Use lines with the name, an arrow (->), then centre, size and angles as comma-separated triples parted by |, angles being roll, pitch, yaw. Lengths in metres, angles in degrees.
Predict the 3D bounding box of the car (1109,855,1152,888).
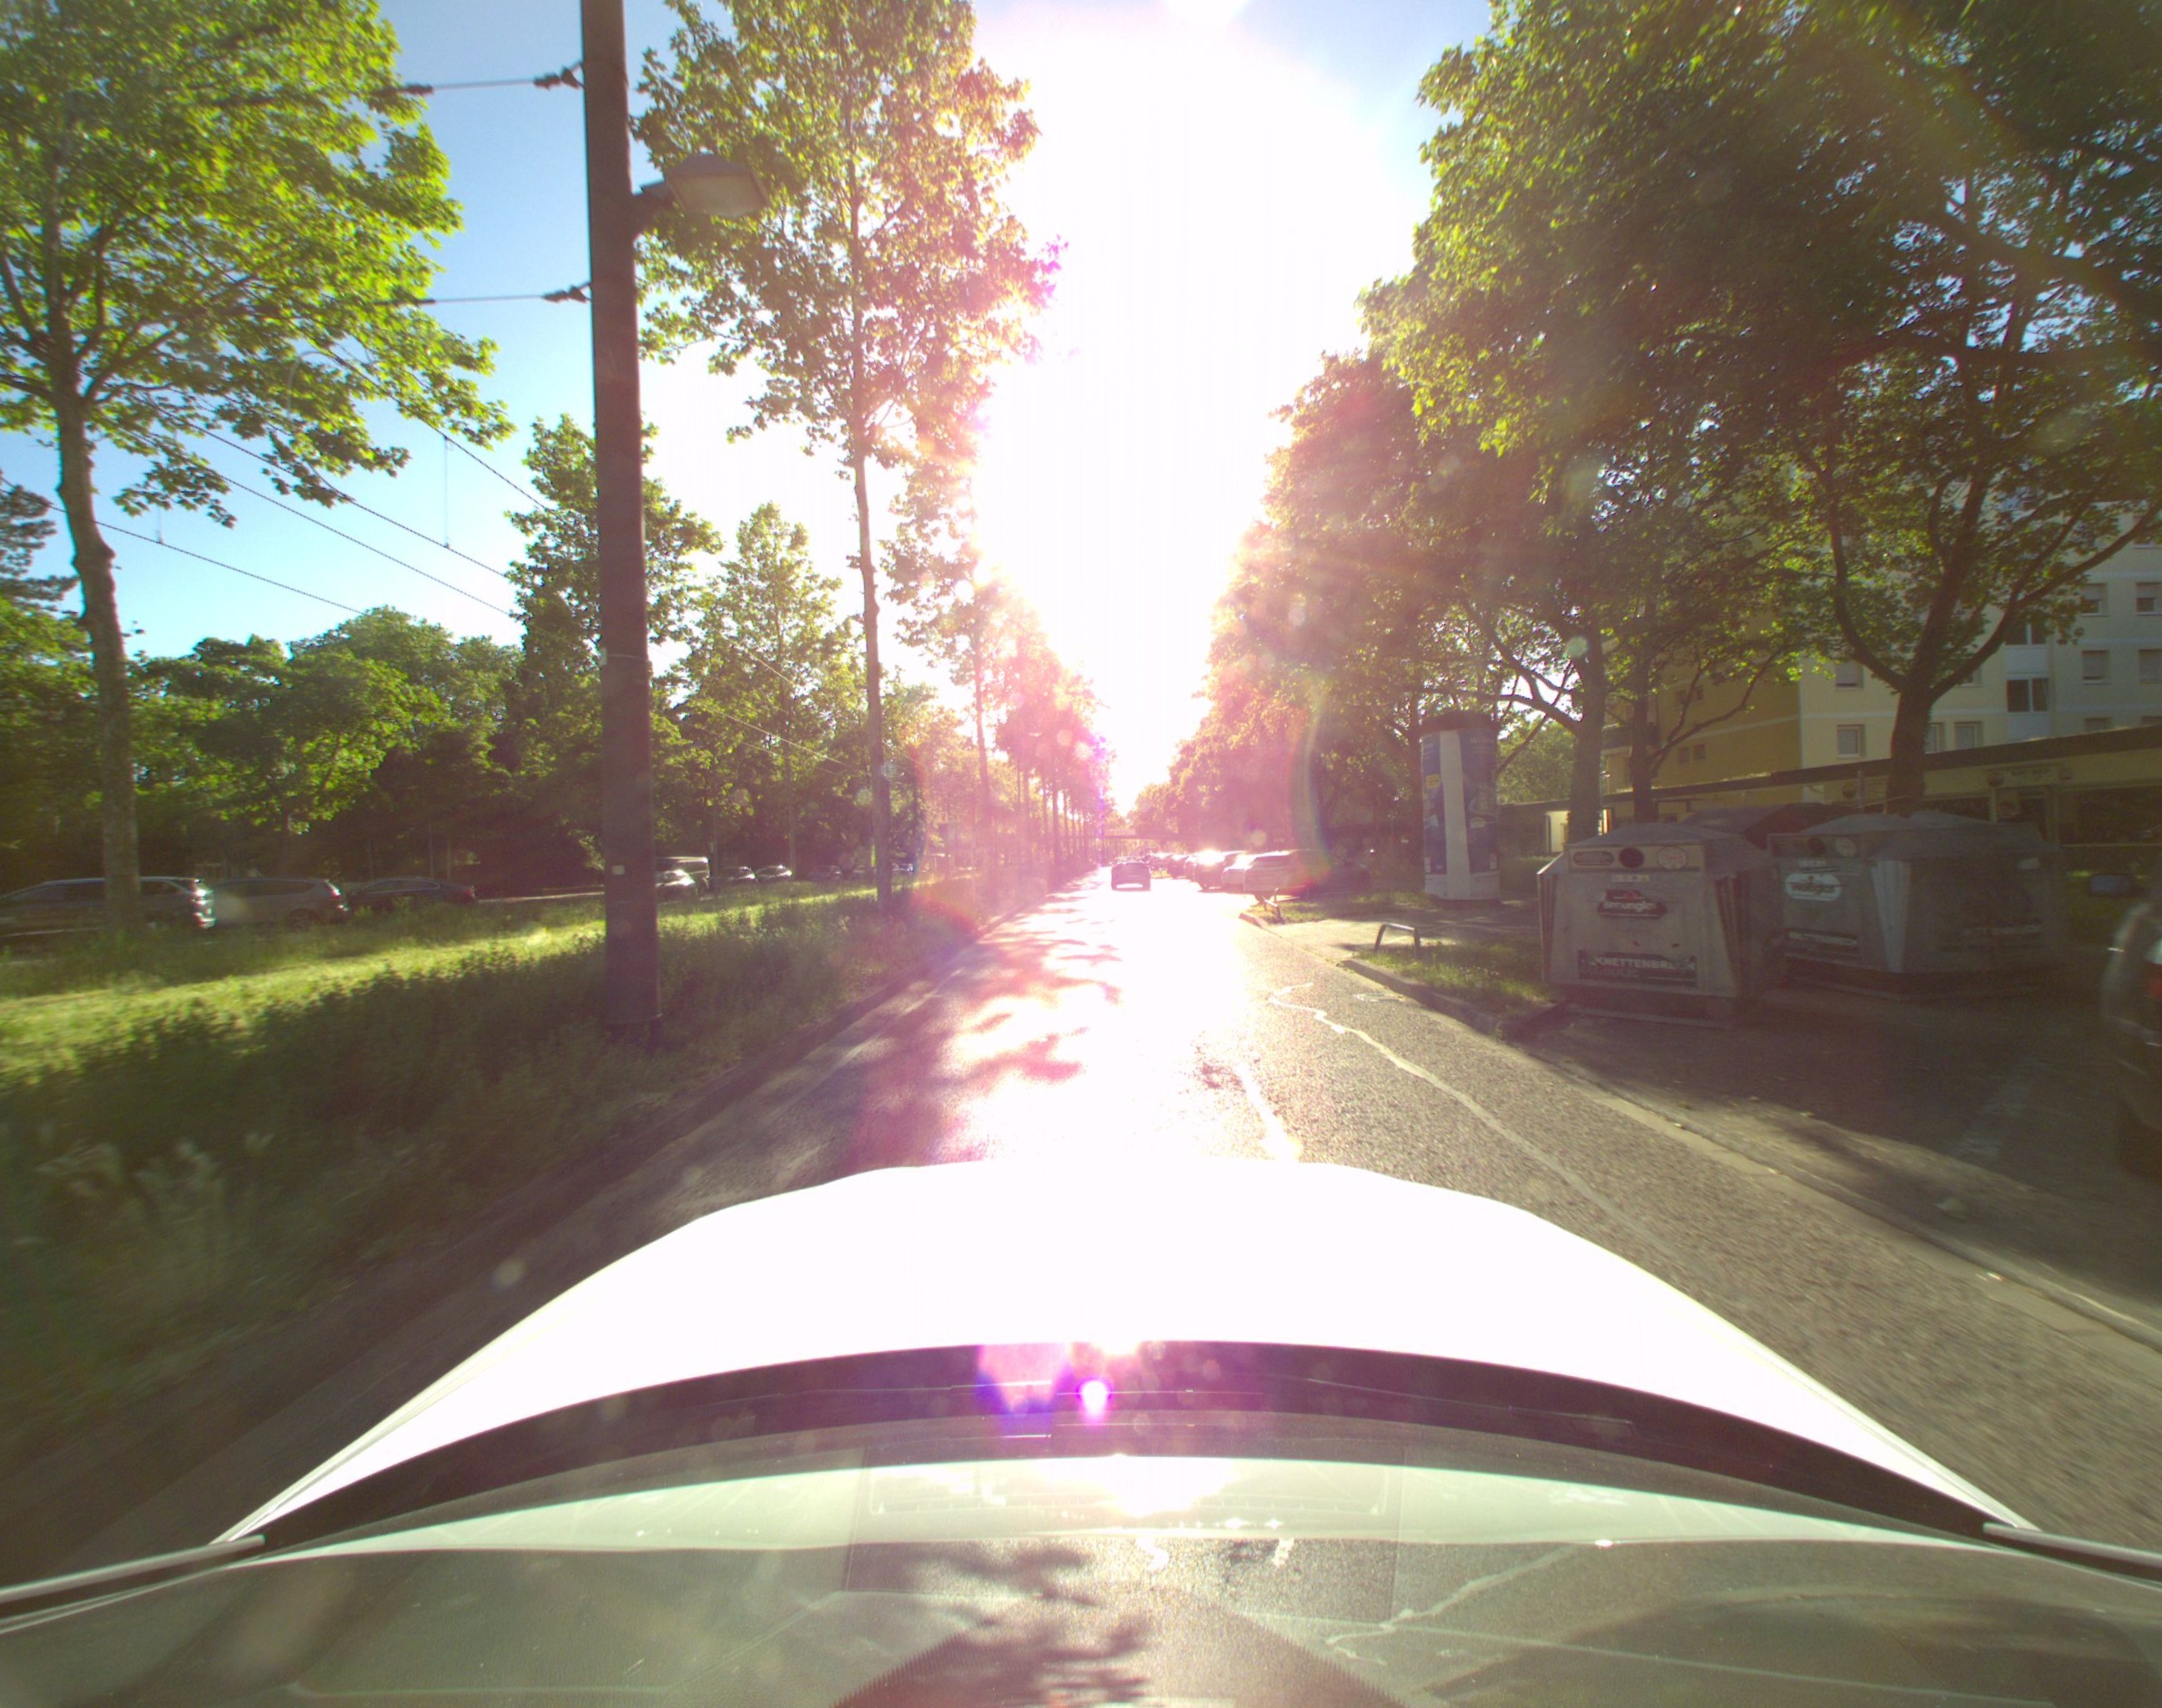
car -> 2.293, 0.768, 38.098 | 1.914, 1.411, 4.003 | -1, 0, 3

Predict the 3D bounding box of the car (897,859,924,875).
car -> -18.396, 1.412, 88.069 | 1.779, 1.590, 4.172 | 1, 0, 4

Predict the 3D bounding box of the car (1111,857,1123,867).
car -> 5.768, 1.268, 131.873 | 1.842, 1.535, 3.868 | -2, 0, 2

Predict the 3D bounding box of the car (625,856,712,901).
car -> -20.882, 1.173, 41.465 | 1.638, 2.093, 4.919 | 1, 0, 4

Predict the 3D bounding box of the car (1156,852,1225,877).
car -> 7.143, 0.650, 52.766 | 4.651, 1.459, 1.955 | -2, 0, -45

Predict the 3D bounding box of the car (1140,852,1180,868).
car -> 9.132, 0.702, 93.671 | 4.649, 1.768, 1.835 | -1, -1, -41

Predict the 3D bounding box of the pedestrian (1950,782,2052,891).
pedestrian -> 16.834, -0.321, 14.923 | 0.872, 1.914, 0.869 | -2, 0, -7

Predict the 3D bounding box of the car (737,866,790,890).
car -> -20.767, 1.533, 53.407 | 1.864, 1.453, 3.578 | 1, 0, 4

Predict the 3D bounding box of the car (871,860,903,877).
car -> -19.464, 1.443, 81.943 | 1.985, 1.590, 4.172 | 1, 0, 4

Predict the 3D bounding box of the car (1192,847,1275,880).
car -> 8.012, 0.500, 42.473 | 4.487, 1.450, 1.896 | -3, -2, -43

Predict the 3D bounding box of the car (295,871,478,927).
car -> -22.969, 1.423, 27.120 | 4.511, 1.568, 1.774 | -2, 0, -41

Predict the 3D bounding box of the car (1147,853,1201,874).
car -> 7.821, 0.782, 68.377 | 4.649, 1.680, 1.835 | -1, -1, -41

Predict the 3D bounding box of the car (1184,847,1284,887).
car -> 6.537, 0.526, 34.504 | 4.353, 1.424, 1.834 | -3, 0, -42

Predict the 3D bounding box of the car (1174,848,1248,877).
car -> 7.824, 0.483, 48.916 | 4.650, 1.570, 1.834 | -2, 0, -42

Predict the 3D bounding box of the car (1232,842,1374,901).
car -> 6.634, 0.472, 24.031 | 4.519, 1.443, 1.834 | -3, 0, -42

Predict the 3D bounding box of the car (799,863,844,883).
car -> -20.368, 1.501, 64.067 | 1.985, 1.453, 4.004 | 1, 0, 4

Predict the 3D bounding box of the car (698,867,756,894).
car -> -20.930, 1.544, 48.295 | 1.638, 1.453, 3.667 | 1, 0, 4

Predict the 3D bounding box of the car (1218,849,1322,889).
car -> 7.352, 0.567, 31.397 | 4.353, 1.297, 1.671 | -3, 0, -42

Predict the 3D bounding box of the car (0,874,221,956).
car -> -23.643, 1.411, 19.159 | 4.511, 1.675, 1.774 | -2, 0, -41

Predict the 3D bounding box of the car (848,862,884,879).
car -> -19.668, 1.480, 74.580 | 1.985, 1.453, 4.004 | 1, 0, 4

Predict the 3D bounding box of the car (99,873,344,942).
car -> -23.673, 1.402, 22.740 | 4.511, 1.568, 1.774 | -2, 0, -41

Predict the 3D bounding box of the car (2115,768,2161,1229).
car -> 6.164, 0.472, 3.772 | 4.341, 1.717, 1.617 | -2, 0, -37

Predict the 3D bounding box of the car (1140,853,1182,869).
car -> 8.841, 0.716, 89.777 | 4.649, 1.680, 1.835 | -1, -1, -41

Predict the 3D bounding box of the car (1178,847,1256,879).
car -> 7.701, 0.484, 45.870 | 4.651, 1.570, 1.834 | -3, 0, -43
